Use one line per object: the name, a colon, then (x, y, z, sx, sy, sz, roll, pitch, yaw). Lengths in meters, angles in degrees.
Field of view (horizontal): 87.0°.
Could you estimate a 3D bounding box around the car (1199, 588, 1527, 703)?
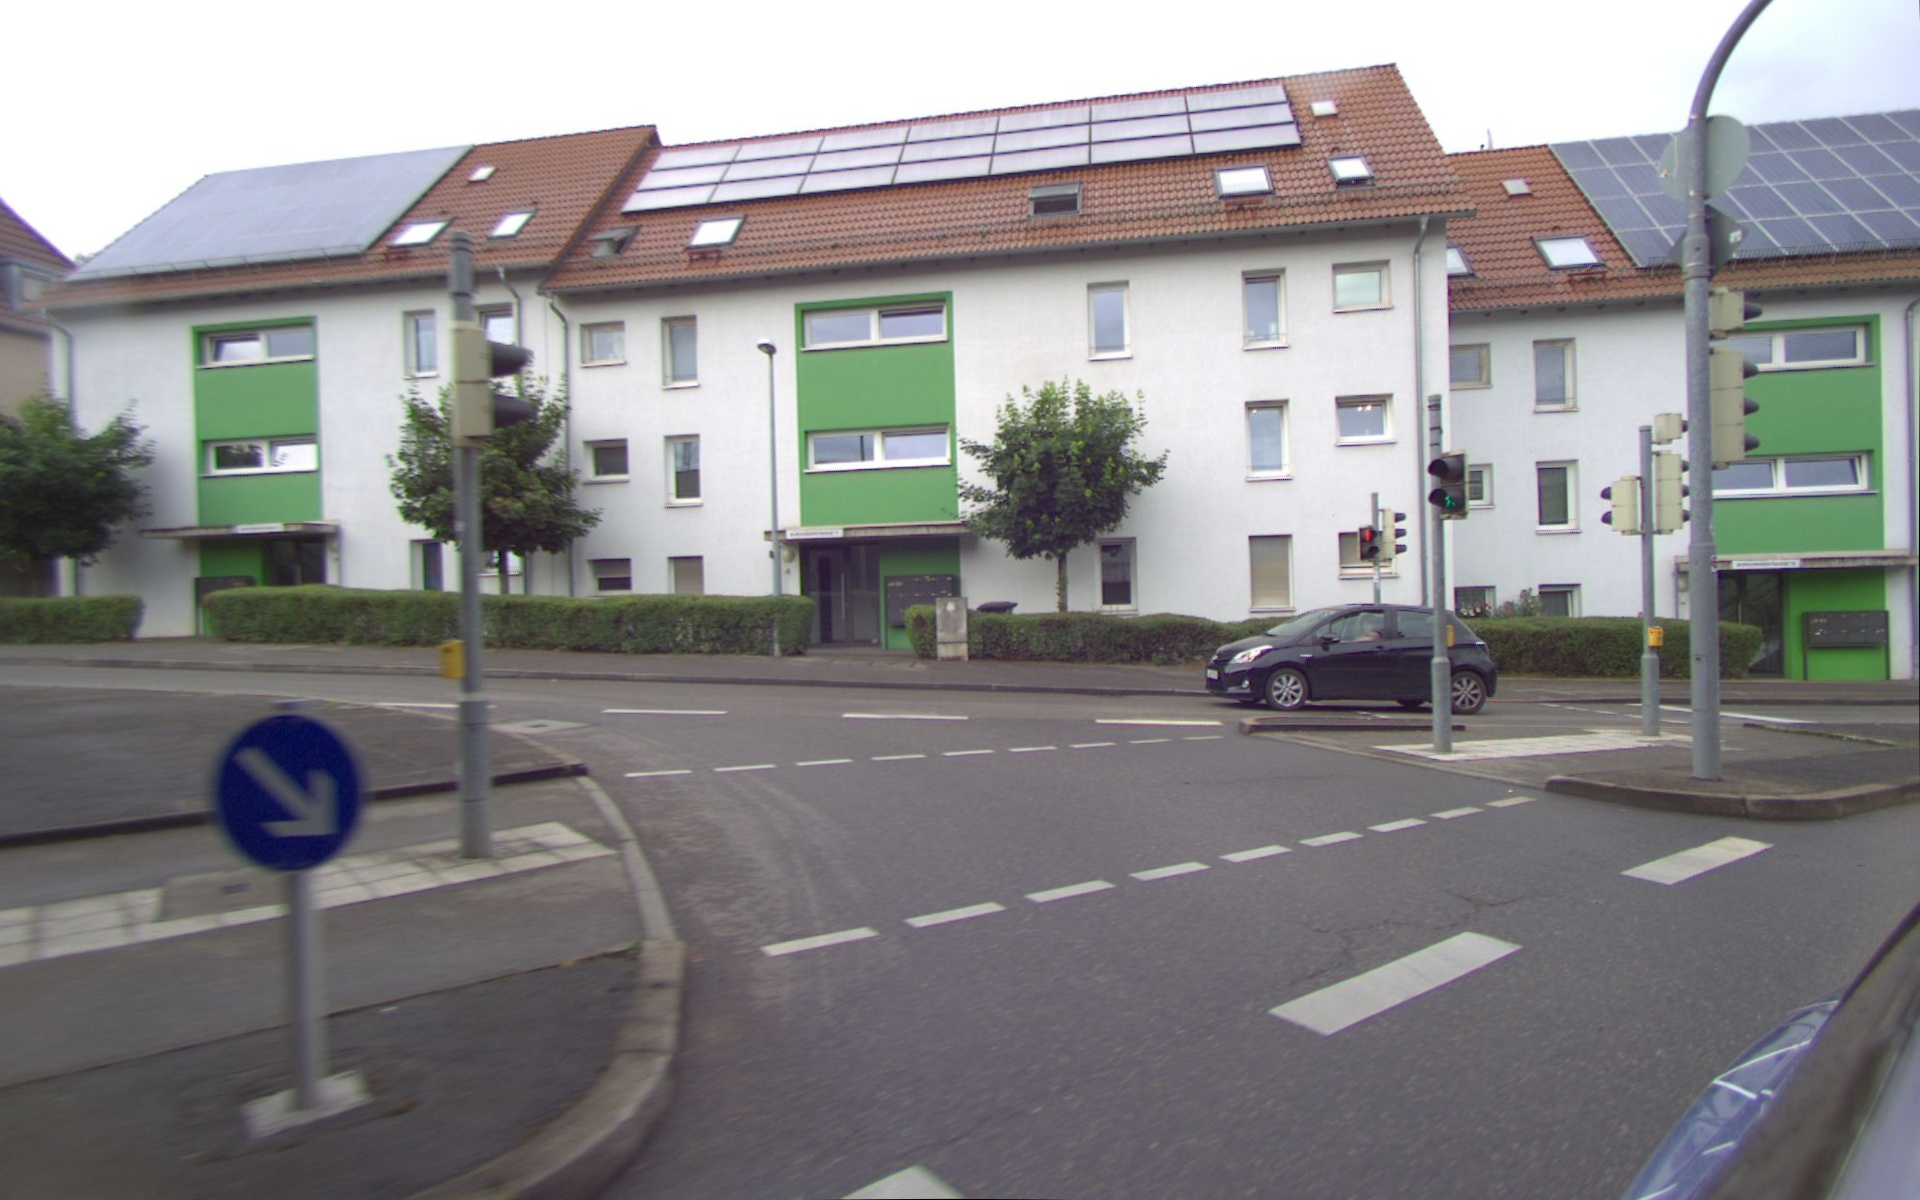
car: (5.547, 0.617, 14.241, 3.922, 1.477, 1.646, 1, -1, -2)
